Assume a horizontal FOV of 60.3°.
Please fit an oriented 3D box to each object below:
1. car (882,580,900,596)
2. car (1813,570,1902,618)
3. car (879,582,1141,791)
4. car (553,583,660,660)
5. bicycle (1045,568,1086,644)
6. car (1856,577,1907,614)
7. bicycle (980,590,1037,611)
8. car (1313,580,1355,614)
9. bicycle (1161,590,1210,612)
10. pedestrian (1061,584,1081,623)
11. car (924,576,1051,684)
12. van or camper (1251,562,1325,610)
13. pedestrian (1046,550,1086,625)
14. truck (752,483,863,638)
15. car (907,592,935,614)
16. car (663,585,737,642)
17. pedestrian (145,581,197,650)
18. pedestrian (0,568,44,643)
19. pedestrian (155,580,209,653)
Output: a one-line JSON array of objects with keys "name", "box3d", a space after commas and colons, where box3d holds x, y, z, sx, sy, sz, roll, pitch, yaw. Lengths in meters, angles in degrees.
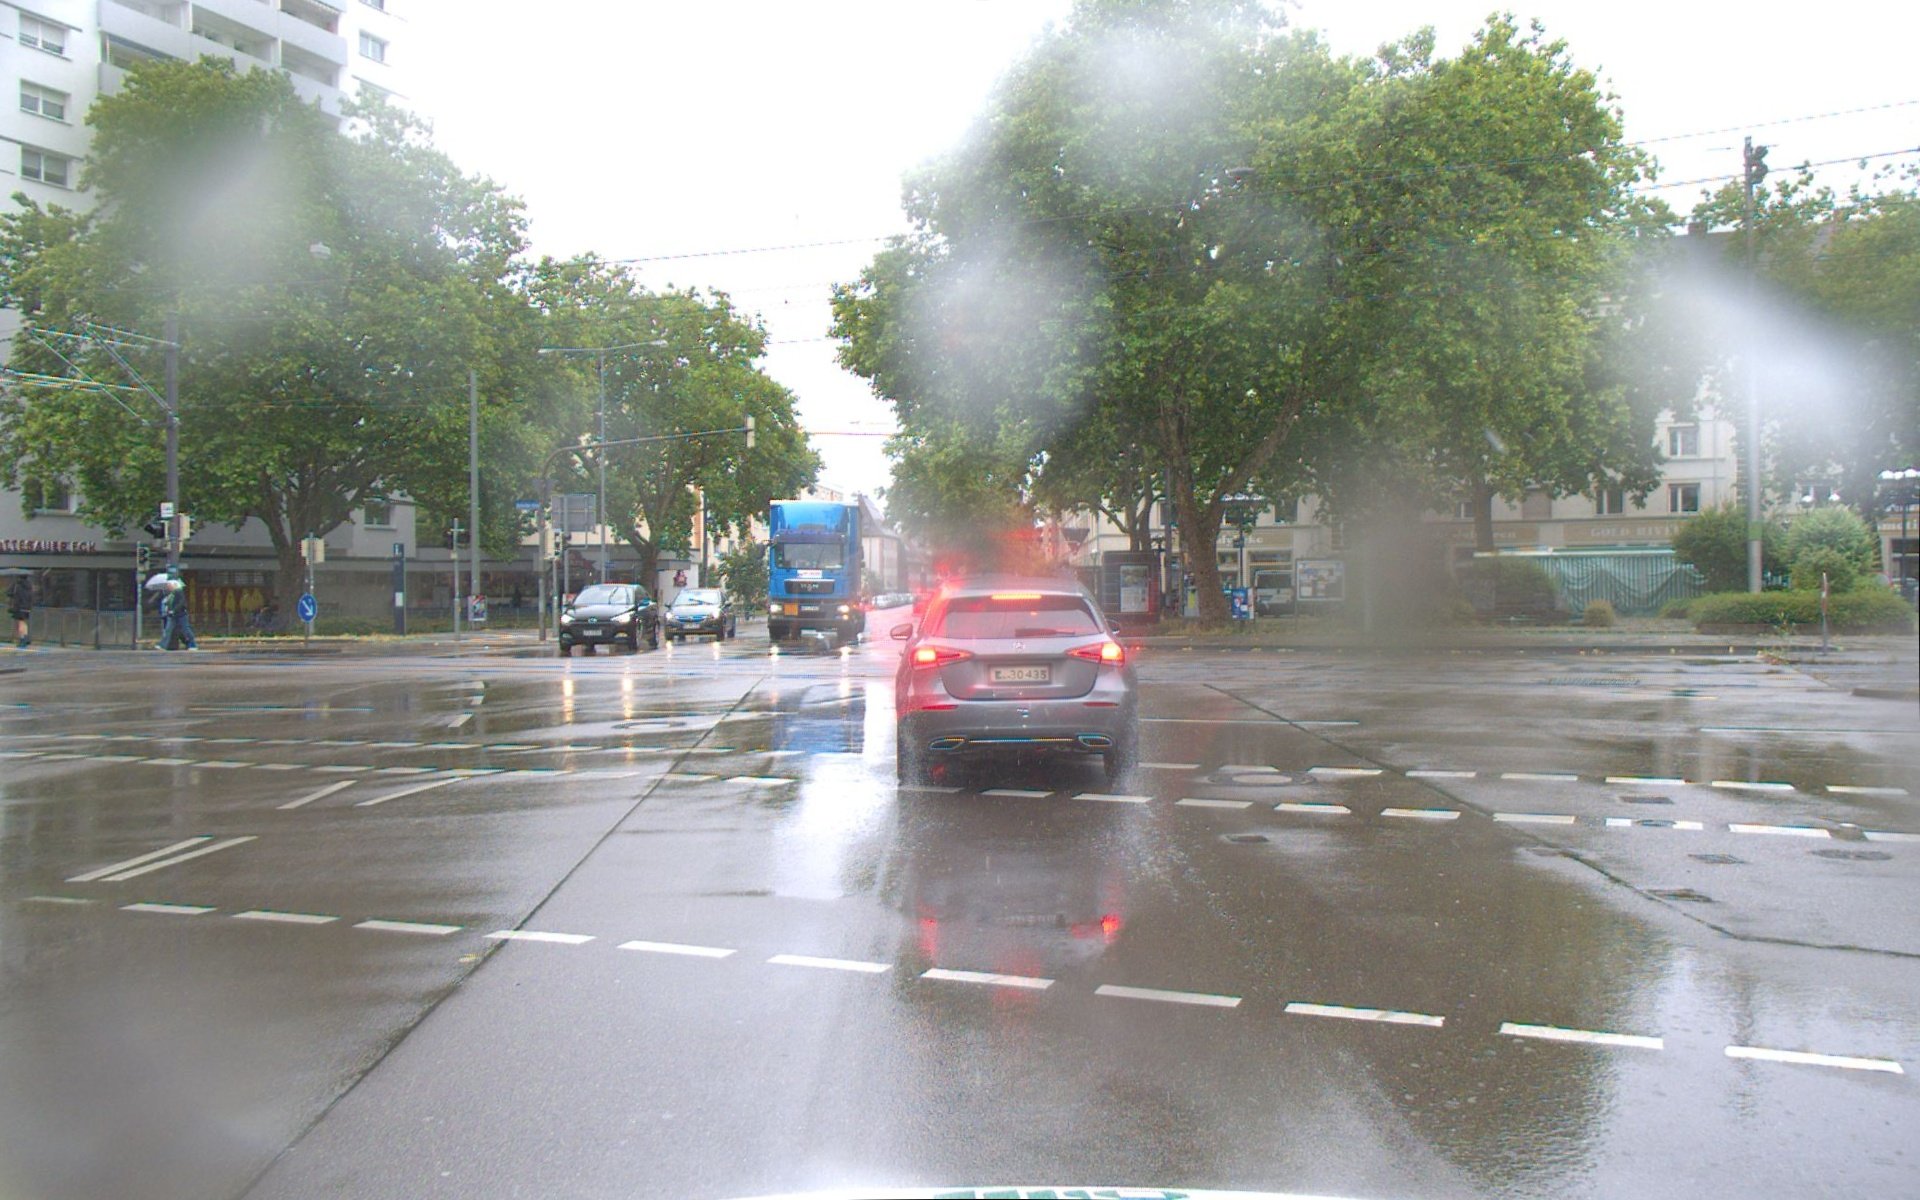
[{"name": "car", "box3d": [-8.270, -1.405, 199.274, 1.850, 1.868, 4.001, -1, 0, 1]}, {"name": "car", "box3d": [30.025, -0.193, 55.406, 1.627, 1.548, 3.682, -1, 0, 12]}, {"name": "car", "box3d": [0.268, 0.574, 12.852, 1.755, 1.396, 3.505, 1, 0, -2]}, {"name": "car", "box3d": [-7.814, 0.449, 36.853, 1.709, 1.573, 3.776, -1, 0, -3]}, {"name": "bicycle", "box3d": [2.080, 0.101, 32.367, 0.733, 1.401, 2.709, -2, 0, 4]}, {"name": "car", "box3d": [40.540, -0.165, 72.792, 1.517, 1.492, 3.366, -1, -2, 22]}, {"name": "bicycle", "box3d": [2.835, 0.022, 97.338, 3.160, 1.131, 1.047, -1, -3, -21]}, {"name": "car", "box3d": [18.187, -0.114, 80.362, 1.644, 1.603, 3.737, -1, -1, 18]}, {"name": "bicycle", "box3d": [10.609, 0.055, 77.930, 2.200, 0.985, 0.585, -1, 0, 21]}, {"name": "pedestrian", "box3d": [4.858, 0.147, 72.668, 0.704, 1.698, 0.663, -1, 0, -14]}, {"name": "car", "box3d": [0.325, 0.388, 24.041, 1.575, 1.396, 3.998, -2, 0, -2]}, {"name": "van or camper", "box3d": [16.187, -0.674, 81.447, 2.349, 2.270, 5.426, -1, 0, 25]}, {"name": "pedestrian", "box3d": [2.087, -0.245, 32.568, 0.728, 1.422, 1.048, -2, 0, 4]}, {"name": "truck", "box3d": [-4.419, -1.083, 49.746, 2.789, 4.095, 10.310, -1, 0, -3]}, {"name": "car", "box3d": [-2.929, 0.228, 123.534, 1.954, 1.601, 3.997, -1, 0, -3]}, {"name": "car", "box3d": [-7.751, 0.373, 49.559, 1.692, 1.573, 4.338, -1, 0, -3]}, {"name": "pedestrian", "box3d": [-19.568, 0.373, 41.023, 0.774, 1.677, 0.818, -2, 0, 13]}, {"name": "pedestrian", "box3d": [-23.508, 0.135, 41.444, 0.663, 1.870, 0.640, -2, 0, 20]}, {"name": "pedestrian", "box3d": [-18.337, 0.376, 39.013, 0.817, 1.677, 0.756, -2, 0, 13]}]
